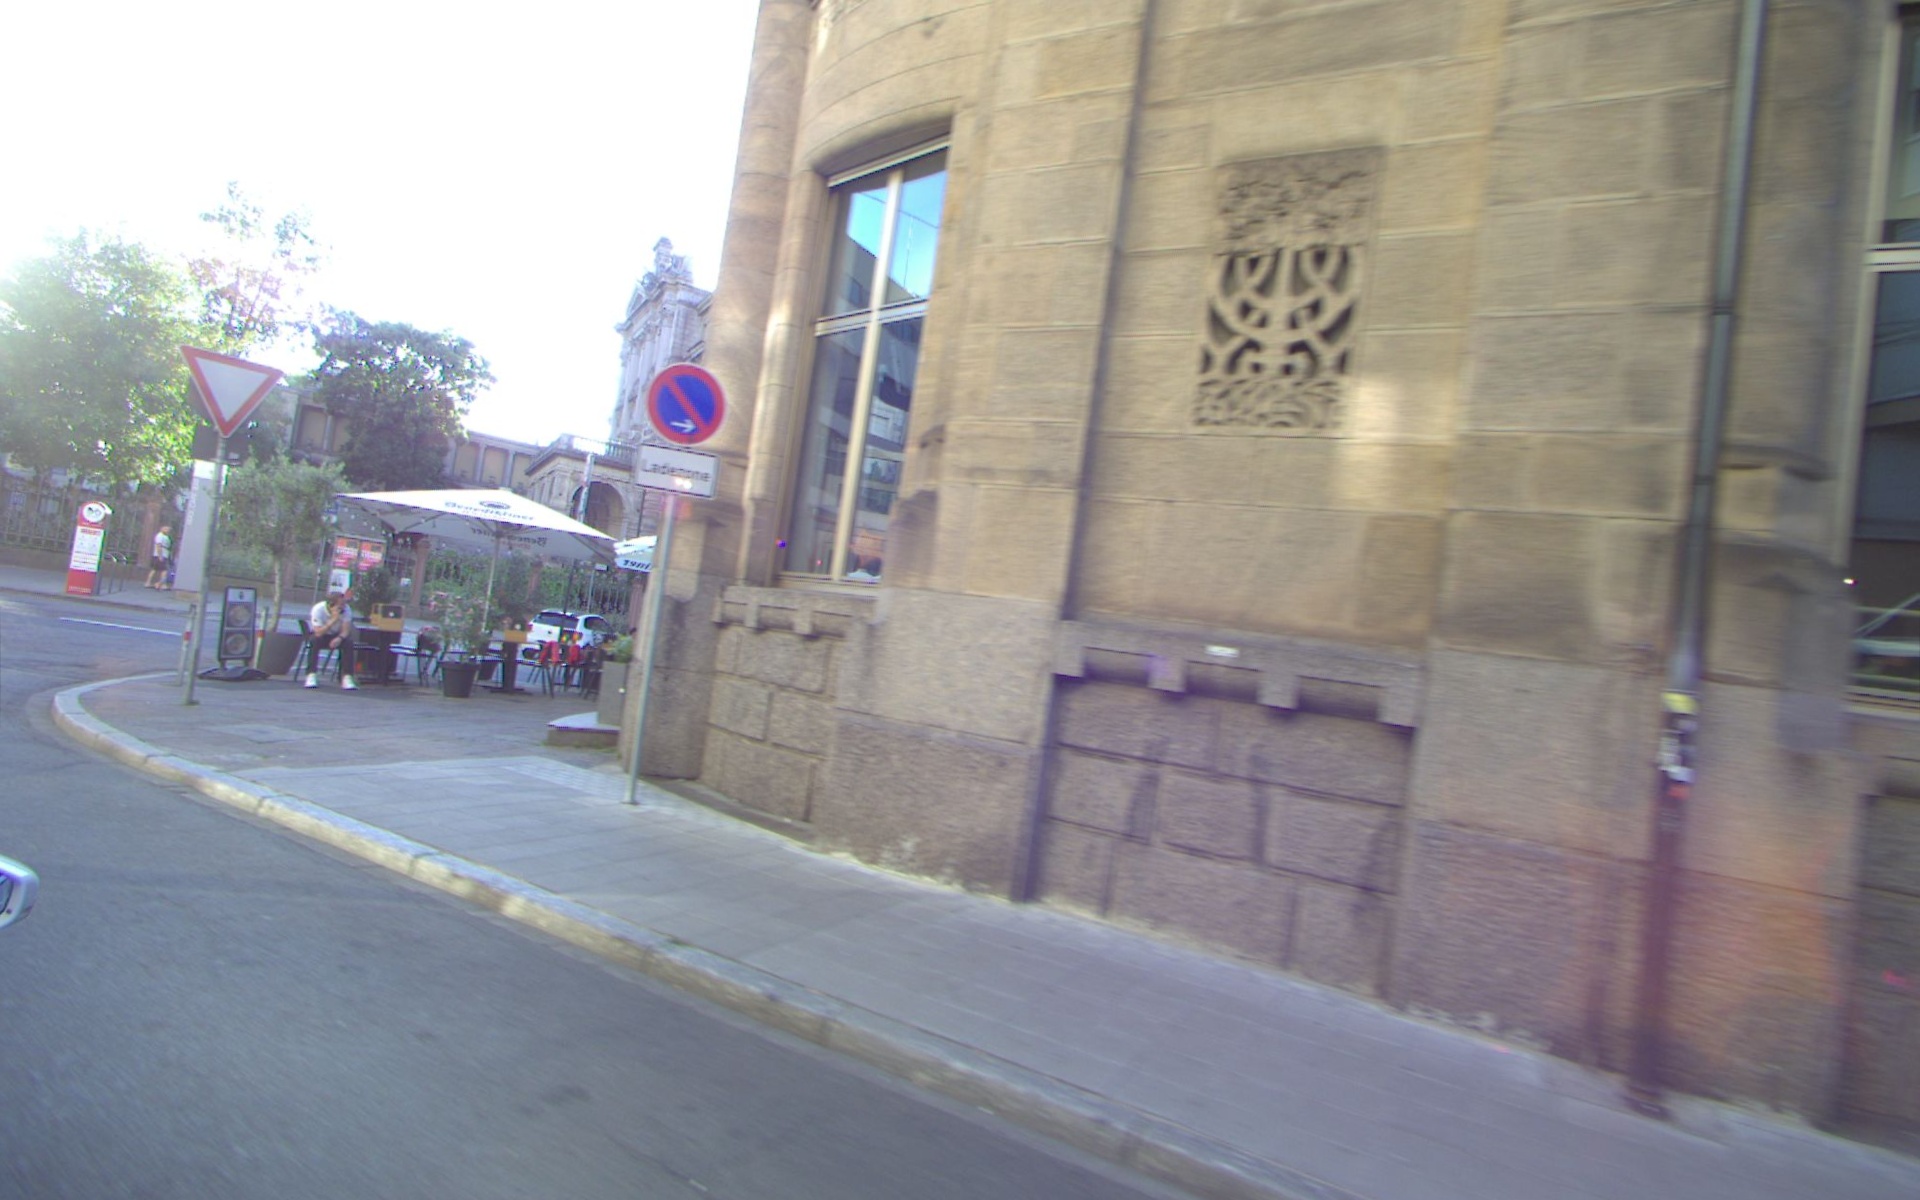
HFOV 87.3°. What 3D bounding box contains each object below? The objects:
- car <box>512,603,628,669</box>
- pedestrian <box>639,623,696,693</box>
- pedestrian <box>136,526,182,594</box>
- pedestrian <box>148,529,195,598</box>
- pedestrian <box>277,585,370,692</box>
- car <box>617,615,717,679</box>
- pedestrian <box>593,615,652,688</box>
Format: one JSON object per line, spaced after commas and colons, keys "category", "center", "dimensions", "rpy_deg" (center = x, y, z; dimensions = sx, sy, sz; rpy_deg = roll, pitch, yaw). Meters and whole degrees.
{"category": "car", "center": [-11.011, 0.962, 28.707], "dimensions": [1.724, 1.465, 3.907], "rpy_deg": [8, 1, -2]}
{"category": "pedestrian", "center": [-5.684, 1.134, 19.580], "dimensions": [0.590, 1.259, 0.687], "rpy_deg": [8, -3, 20]}
{"category": "pedestrian", "center": [-21.493, -1.076, 27.002], "dimensions": [0.702, 1.689, 0.634], "rpy_deg": [10, -2, -44]}
{"category": "pedestrian", "center": [-20.716, -0.961, 26.416], "dimensions": [0.702, 1.689, 0.634], "rpy_deg": [10, -2, -44]}
{"category": "pedestrian", "center": [-8.016, 0.488, 12.665], "dimensions": [0.810, 1.201, 0.606], "rpy_deg": [7, -3, 39]}
{"category": "car", "center": [-8.680, 1.342, 30.124], "dimensions": [1.724, 1.543, 4.000], "rpy_deg": [8, -1, -2]}
{"category": "pedestrian", "center": [-6.410, 0.988, 19.102], "dimensions": [0.590, 1.259, 0.687], "rpy_deg": [8, -3, 20]}
